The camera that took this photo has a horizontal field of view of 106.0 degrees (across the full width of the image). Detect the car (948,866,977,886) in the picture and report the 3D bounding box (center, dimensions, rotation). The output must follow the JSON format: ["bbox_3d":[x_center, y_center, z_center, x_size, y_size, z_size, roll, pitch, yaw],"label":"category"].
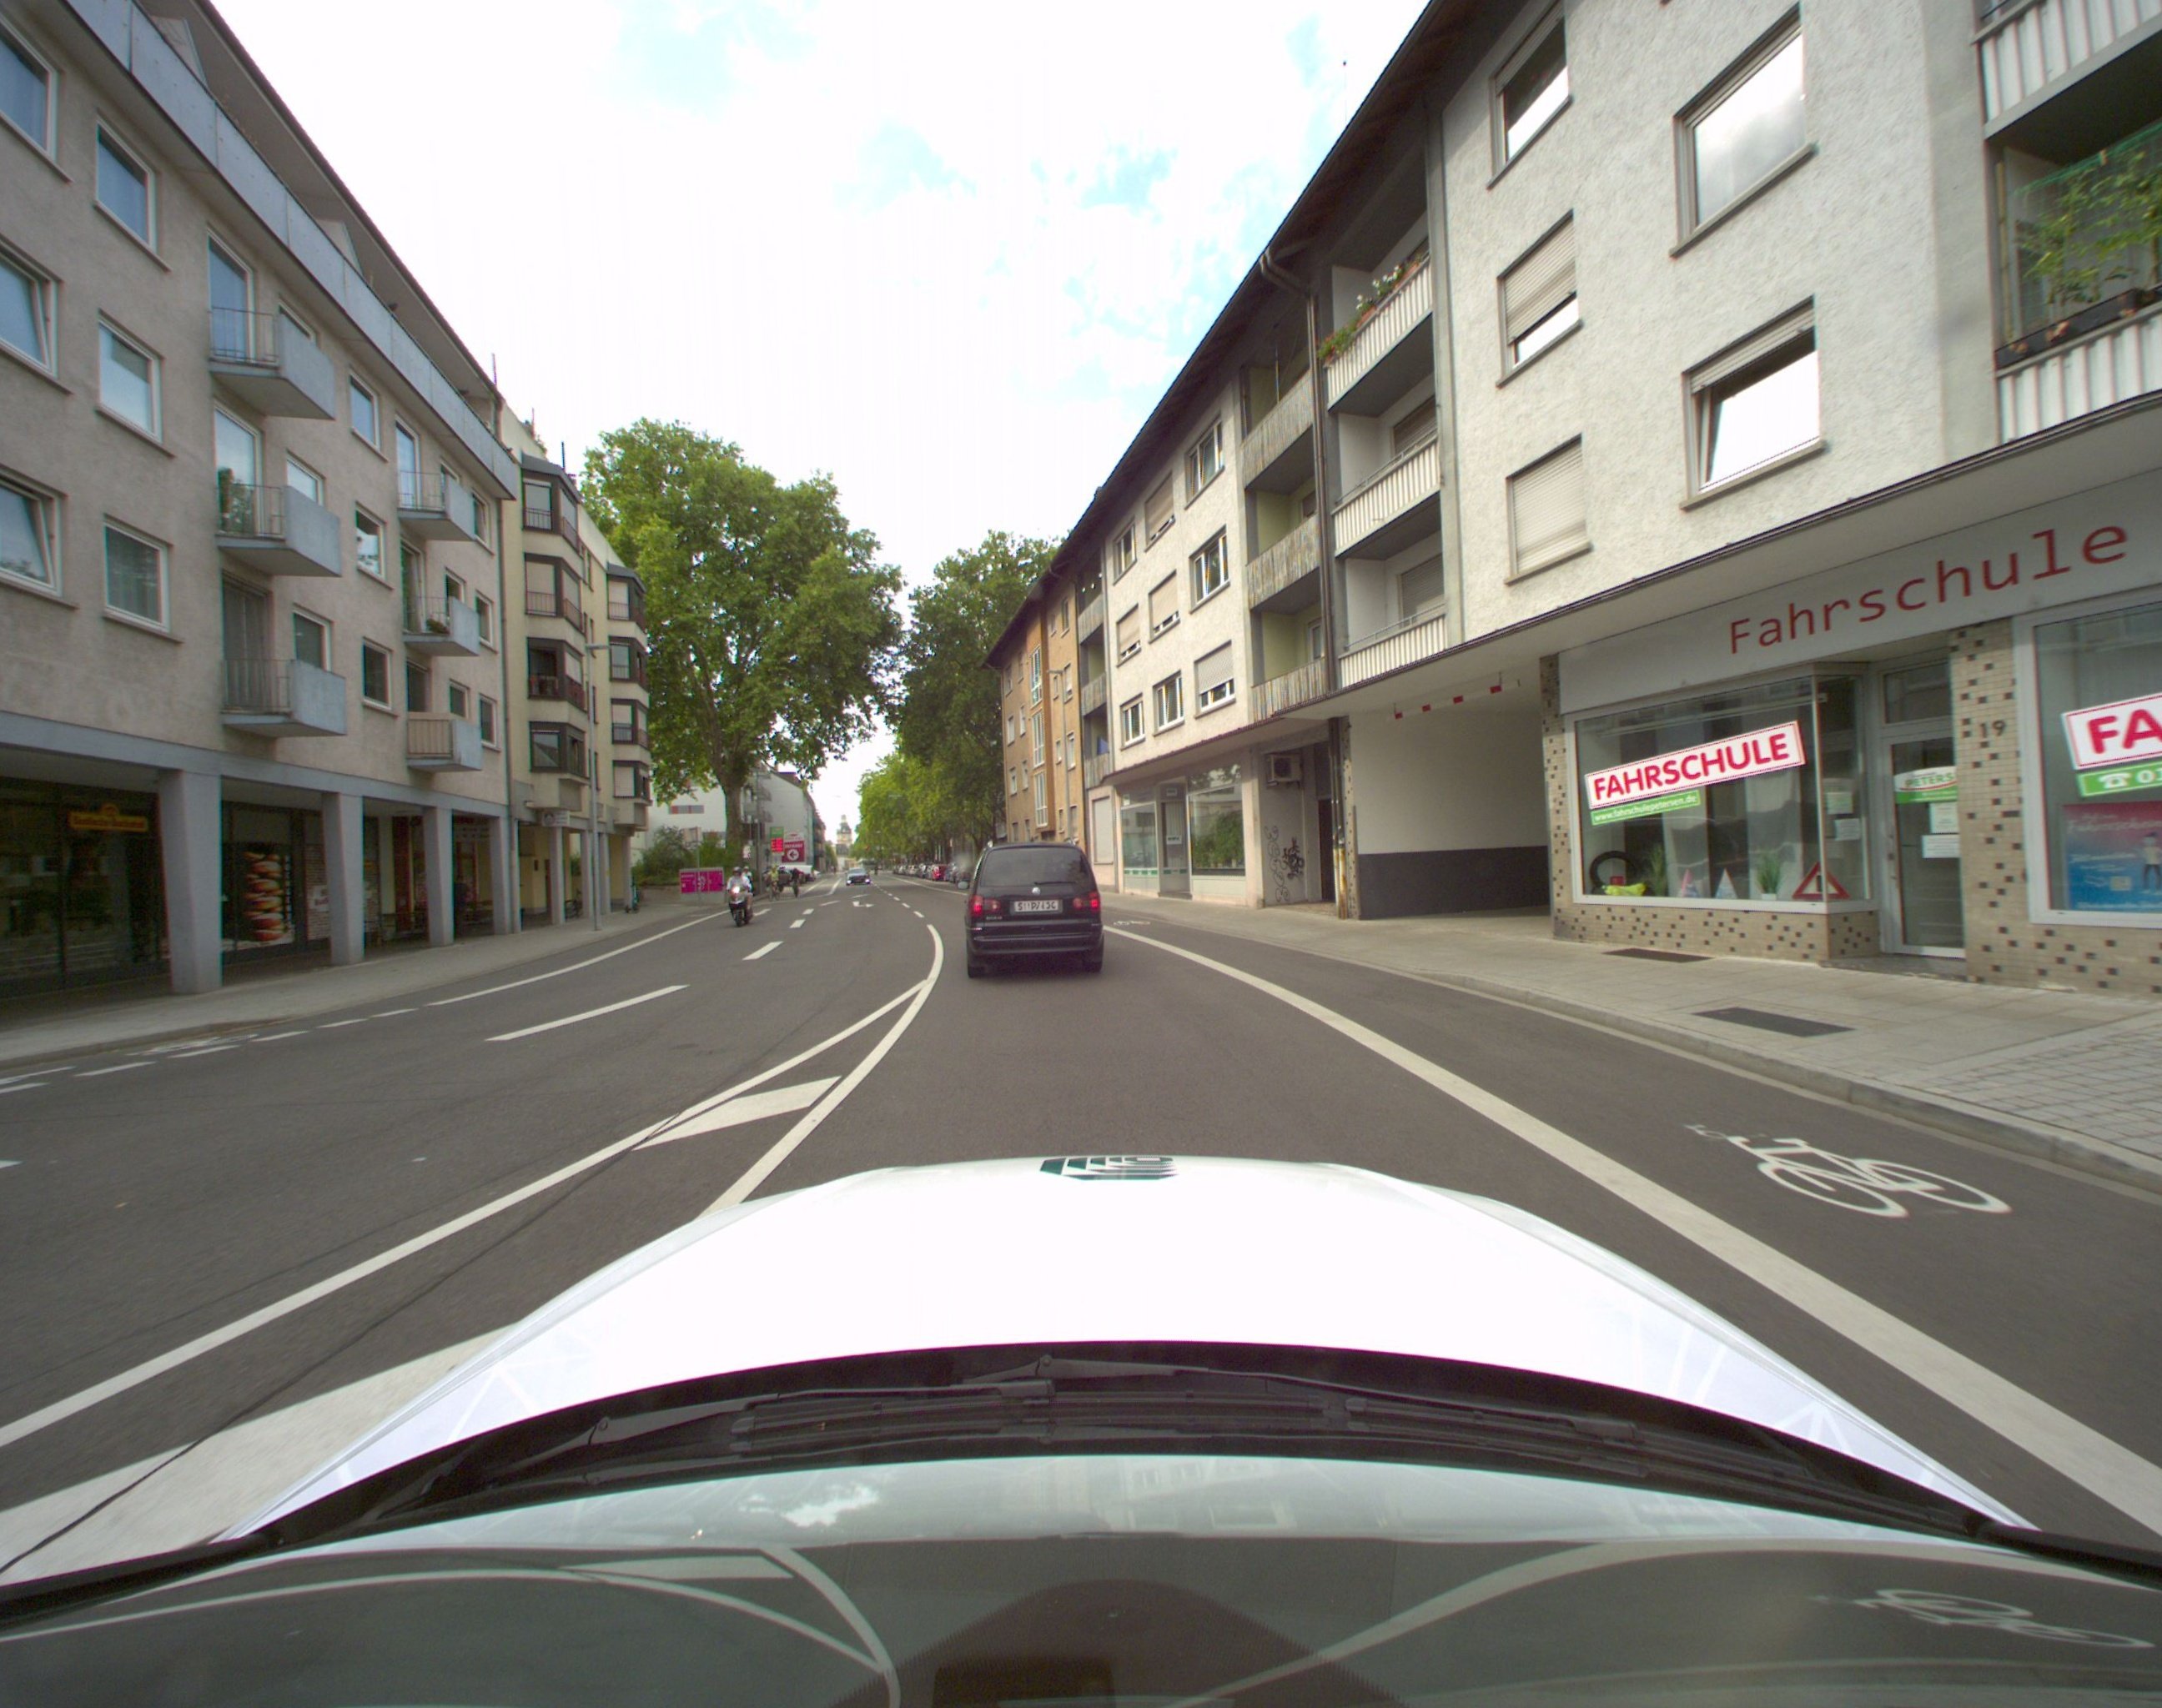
[{"bbox_3d":[-9.331,1.697,63.712,1.661,1.422,3.925,-3,1,-16],"label":"car"}]

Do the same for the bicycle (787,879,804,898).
[{"bbox_3d":[-17.757,2.125,50.635,0.738,1.007,2.185,-1,1,-13],"label":"bicycle"}]

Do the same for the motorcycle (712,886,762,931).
[{"bbox_3d":[-9.613,1.499,22.836,0.721,1.094,2.029,-5,0,-9],"label":"motorcycle"}]

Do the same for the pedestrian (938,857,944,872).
[{"bbox_3d":[-18.740,1.422,108.908,0.644,1.975,0.688,-1,1,-15],"label":"pedestrian"}]

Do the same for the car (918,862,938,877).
[{"bbox_3d":[-16.587,1.658,88.313,1.634,1.470,4.292,-2,0,-17],"label":"car"}]

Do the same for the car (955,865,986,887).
[{"bbox_3d":[-8.045,1.566,59.139,1.661,1.422,3.844,-3,1,-16],"label":"car"}]

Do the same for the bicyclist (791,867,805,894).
[{"bbox_3d":[-16.421,1.544,47.285,0.657,1.525,0.853,-1,1,-12],"label":"bicyclist"}]

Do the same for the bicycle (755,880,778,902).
[{"bbox_3d":[-16.222,1.893,42.067,0.738,1.007,2.243,-1,1,-12],"label":"bicycle"}]

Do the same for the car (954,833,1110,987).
[{"bbox_3d":[-0.780,0.648,11.572,1.810,1.766,3.729,-2,0,-6],"label":"car"}]

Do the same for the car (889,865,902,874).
[{"bbox_3d":[-30.738,2.627,134.970,1.680,1.394,3.856,-2,0,-17],"label":"car"}]

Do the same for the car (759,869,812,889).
[{"bbox_3d":[-26.456,2.192,72.930,4.265,1.605,1.958,-1,1,-16],"label":"car"}]

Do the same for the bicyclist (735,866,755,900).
[{"bbox_3d":[-15.691,1.336,38.028,0.657,1.525,0.998,-1,1,-12],"label":"bicyclist"}]

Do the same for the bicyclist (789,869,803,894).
[{"bbox_3d":[-17.898,1.723,51.184,0.657,1.525,1.072,-1,1,-12],"label":"bicyclist"}]

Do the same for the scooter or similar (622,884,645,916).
[{"bbox_3d":[-18.158,1.876,33.052,1.161,1.265,0.289,-3,0,37],"label":"scooter or similar"}]

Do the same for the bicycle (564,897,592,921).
[{"bbox_3d":[-19.220,2.086,31.149,0.430,0.821,1.610,-3,0,-15],"label":"bicycle"}]

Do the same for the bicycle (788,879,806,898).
[{"bbox_3d":[-16.441,1.984,47.104,0.738,1.007,1.967,-1,1,-13],"label":"bicycle"}]

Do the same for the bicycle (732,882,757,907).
[{"bbox_3d":[-15.721,1.873,38.095,0.738,1.007,1.901,-1,1,-12],"label":"bicycle"}]

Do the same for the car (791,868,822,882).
[{"bbox_3d":[-32.156,2.470,95.349,3.352,1.497,1.586,-1,-1,-18],"label":"car"}]

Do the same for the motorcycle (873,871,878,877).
[{"bbox_3d":[-32.871,3.258,130.287,0.627,0.930,2.390,-3,0,-16],"label":"motorcycle"}]

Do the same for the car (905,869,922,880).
[{"bbox_3d":[-21.907,2.639,106.286,1.680,1.394,4.435,-2,0,-17],"label":"car"}]

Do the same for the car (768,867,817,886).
[{"bbox_3d":[-29.723,2.279,83.973,4.535,1.878,2.036,-1,-1,-16],"label":"car"}]

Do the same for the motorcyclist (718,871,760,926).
[{"bbox_3d":[-9.673,1.249,23.074,0.796,1.460,0.862,-5,0,-10],"label":"motorcyclist"}]

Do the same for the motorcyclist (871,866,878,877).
[{"bbox_3d":[-33.077,2.774,130.343,0.955,1.660,1.248,-3,0,-17],"label":"motorcyclist"}]

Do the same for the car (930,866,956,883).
[{"bbox_3d":[-12.439,1.845,73.244,1.680,1.394,4.435,-2,0,-17],"label":"car"}]

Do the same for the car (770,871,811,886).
[{"bbox_3d":[-28.996,2.444,81.364,3.691,1.445,1.743,-1,0,-17],"label":"car"}]

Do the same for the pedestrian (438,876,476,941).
[{"bbox_3d":[-17.410,1.514,22.745,0.582,1.757,0.780,-1,-1,-16],"label":"pedestrian"}]

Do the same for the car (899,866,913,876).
[{"bbox_3d":[-26.013,2.455,120.876,1.647,1.413,3.393,-2,0,-20],"label":"car"}]

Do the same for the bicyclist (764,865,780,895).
[{"bbox_3d":[-15.984,1.340,42.136,0.657,1.525,0.837,-1,1,-12],"label":"bicyclist"}]

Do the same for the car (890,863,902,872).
[{"bbox_3d":[-31.895,2.307,140.410,1.680,1.394,3.856,-2,0,-17],"label":"car"}]

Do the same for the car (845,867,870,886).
[{"bbox_3d":[-18.477,1.833,67.250,1.814,1.408,4.583,-3,0,-16],"label":"car"}]
